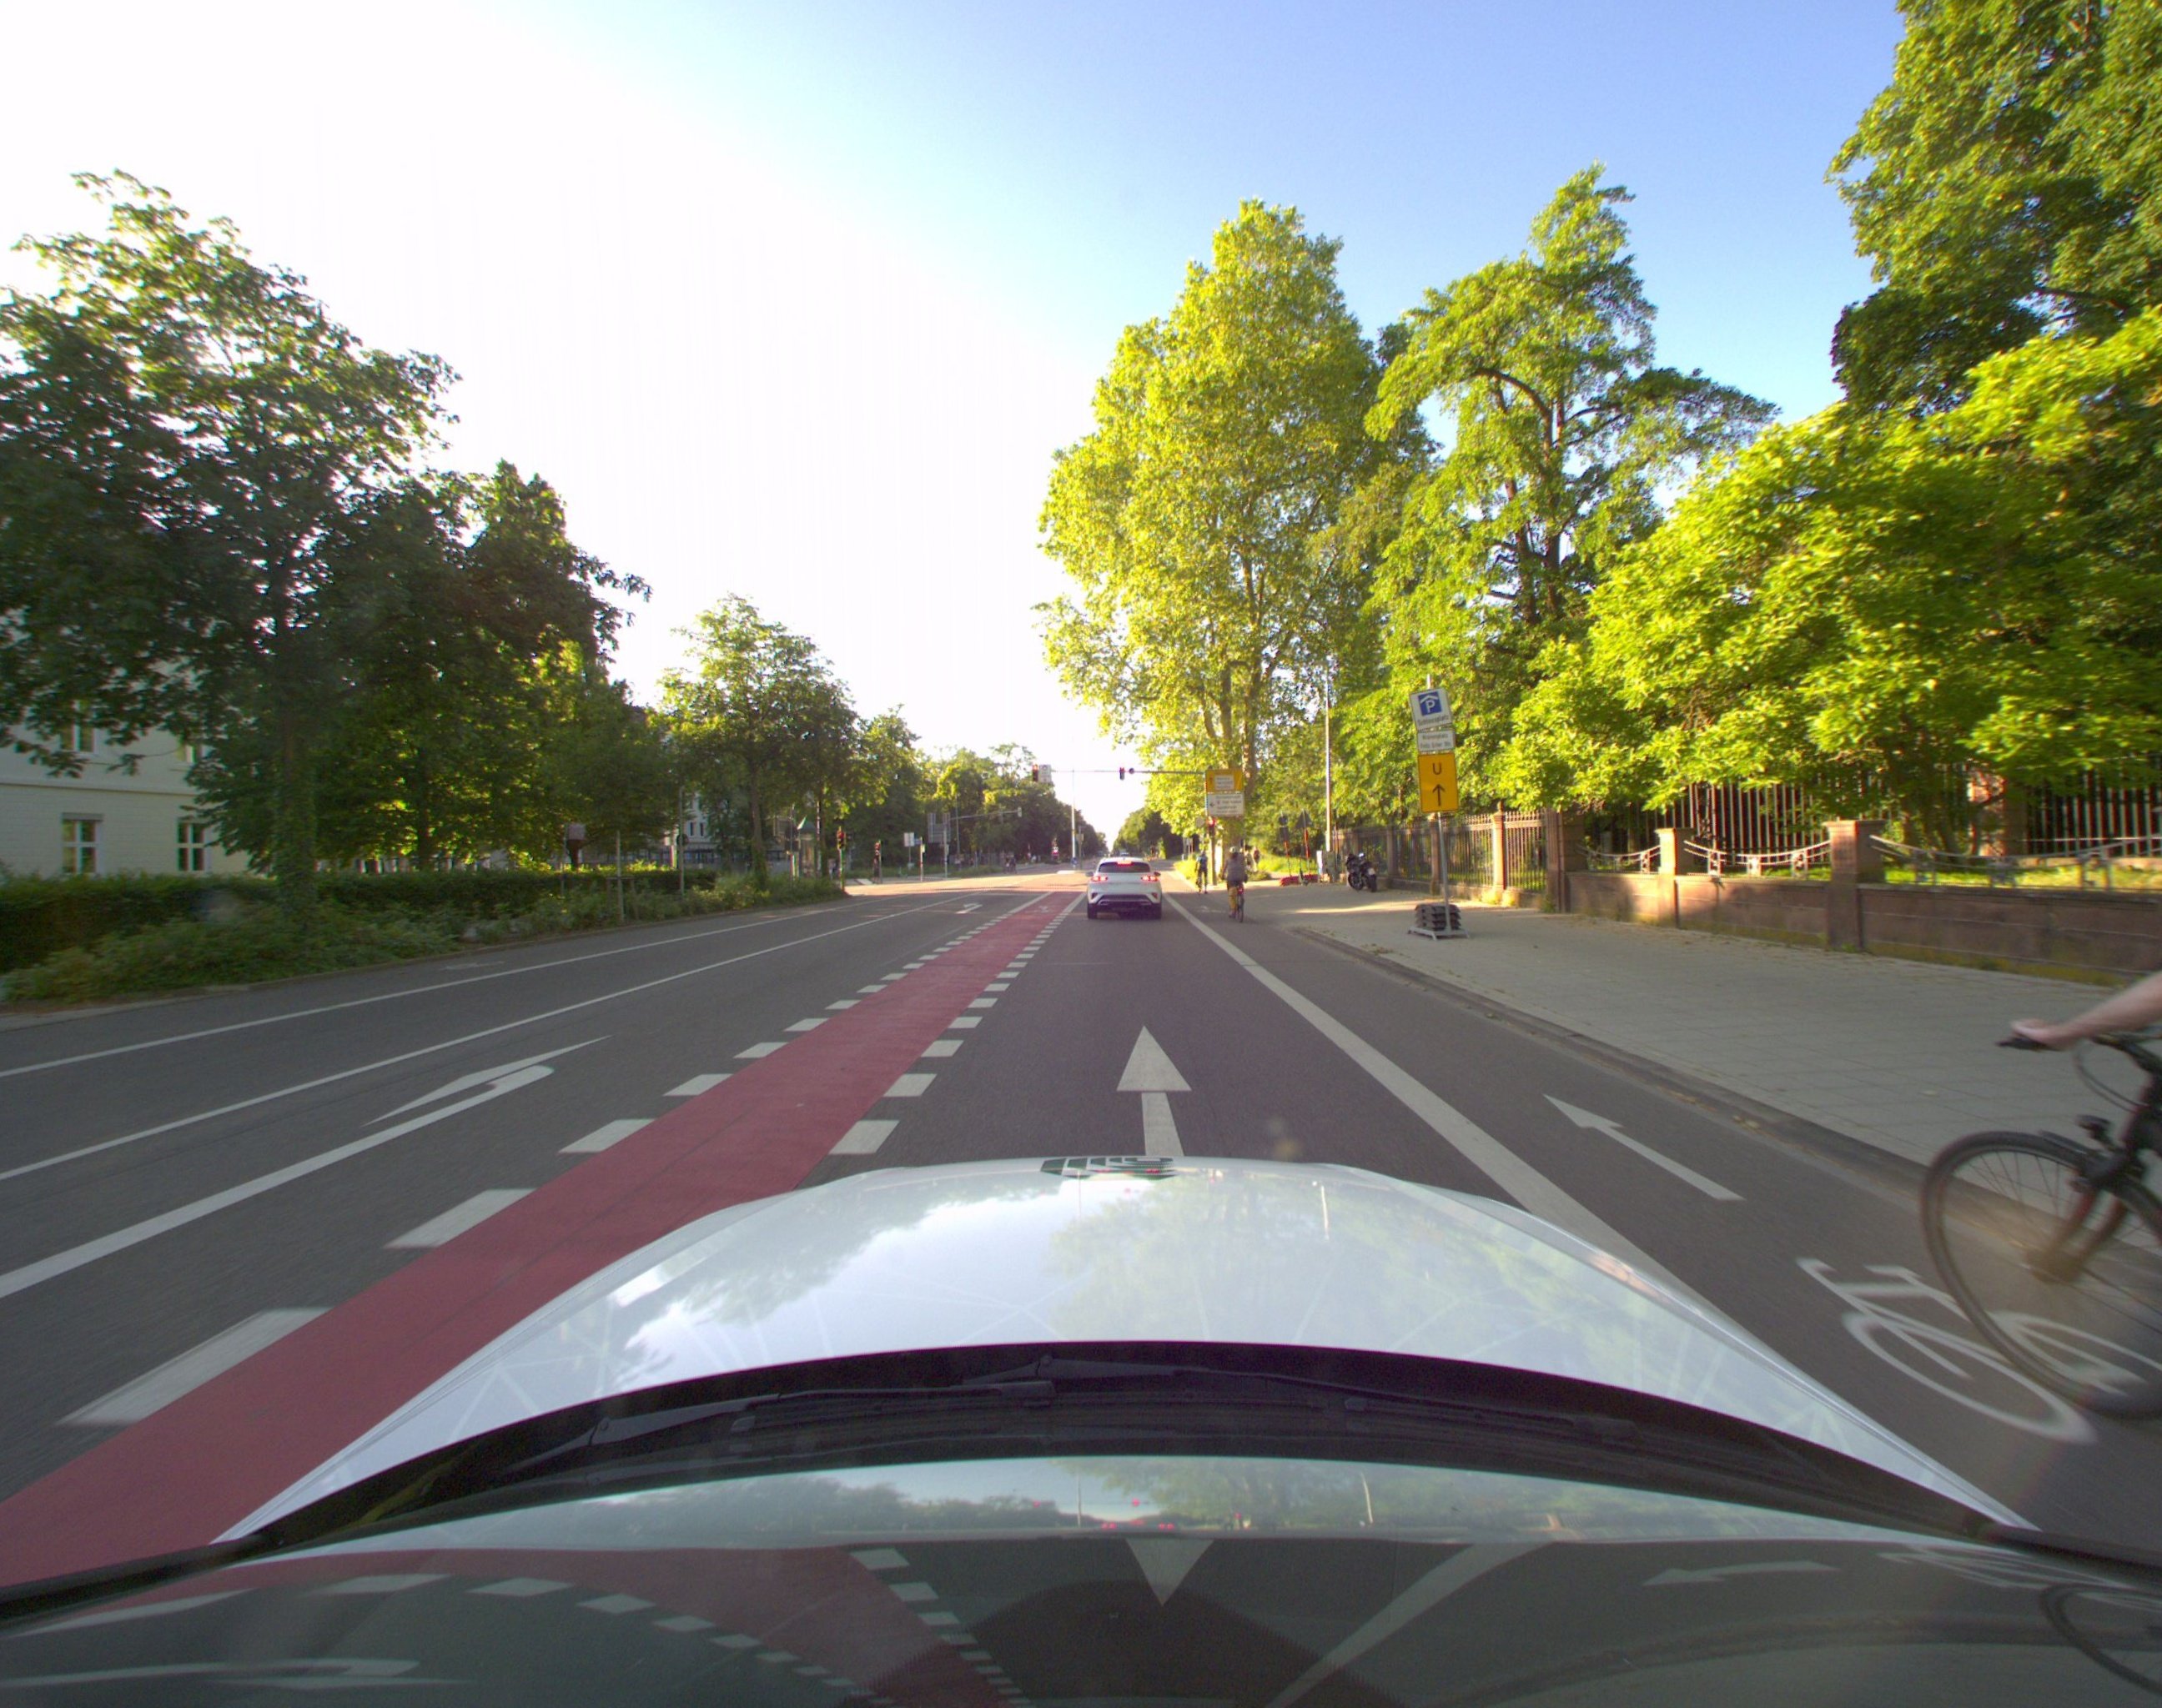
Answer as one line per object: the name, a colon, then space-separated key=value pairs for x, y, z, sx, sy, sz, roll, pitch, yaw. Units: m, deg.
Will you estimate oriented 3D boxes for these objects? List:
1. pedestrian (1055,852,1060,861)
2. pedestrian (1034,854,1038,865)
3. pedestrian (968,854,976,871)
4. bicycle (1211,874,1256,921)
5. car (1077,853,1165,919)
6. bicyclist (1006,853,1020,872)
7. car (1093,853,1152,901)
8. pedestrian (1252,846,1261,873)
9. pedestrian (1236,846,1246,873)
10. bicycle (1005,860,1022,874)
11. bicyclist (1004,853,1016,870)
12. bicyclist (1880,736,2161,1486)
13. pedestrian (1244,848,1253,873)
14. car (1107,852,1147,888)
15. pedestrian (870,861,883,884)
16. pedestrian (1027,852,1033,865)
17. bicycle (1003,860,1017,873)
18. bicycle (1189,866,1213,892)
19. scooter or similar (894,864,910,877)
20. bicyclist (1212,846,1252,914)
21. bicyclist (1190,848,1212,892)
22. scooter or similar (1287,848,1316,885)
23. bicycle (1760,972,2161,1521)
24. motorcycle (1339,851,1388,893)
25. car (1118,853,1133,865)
pedestrian: x=-5.997 y=0.580 z=205.090 sx=0.870 sy=2.149 sz=1.107 roll=-3 pitch=0 yaw=11
pedestrian: x=-6.898 y=0.820 z=124.060 sx=0.518 sy=1.705 sz=0.528 roll=-3 pitch=0 yaw=-2
pedestrian: x=-12.286 y=1.010 z=92.049 sx=0.648 sy=1.888 sz=0.663 roll=-3 pitch=0 yaw=4
bicycle: x=3.560 y=0.990 z=19.151 sx=0.750 sy=1.026 sz=1.870 roll=-1 pitch=-1 yaw=2
car: x=1.005 y=0.752 z=21.070 sx=1.986 sy=1.453 sz=4.002 roll=-3 pitch=0 yaw=2
bicyclist: x=-6.405 y=0.810 z=77.230 sx=1.087 sy=1.754 sz=1.098 roll=-3 pitch=0 yaw=4
car: x=1.473 y=0.774 z=29.557 sx=1.922 sy=1.533 sz=4.002 roll=-3 pitch=0 yaw=2
pedestrian: x=12.064 y=0.352 z=55.974 sx=0.479 sy=1.792 sz=0.433 roll=-5 pitch=3 yaw=8
pedestrian: x=10.880 y=0.375 z=55.296 sx=0.479 sy=1.792 sz=0.433 roll=-5 pitch=3 yaw=8
bicycle: x=-6.400 y=1.223 z=77.113 sx=1.097 sy=1.255 sz=2.782 roll=-3 pitch=0 yaw=4
bicyclist: x=-7.209 y=0.758 z=82.379 sx=0.951 sy=1.705 sz=1.234 roll=-3 pitch=0 yaw=3
bicyclist: x=2.629 y=0.550 z=1.714 sx=0.633 sy=1.614 sz=1.284 roll=-1 pitch=0 yaw=2
pedestrian: x=11.427 y=0.410 z=55.545 sx=0.479 sy=1.640 sz=0.433 roll=-5 pitch=3 yaw=8
car: x=2.249 y=0.757 z=40.497 sx=1.844 sy=1.591 sz=4.002 roll=-3 pitch=0 yaw=2
pedestrian: x=-16.208 y=1.449 z=64.449 sx=0.684 sy=1.792 sz=0.769 roll=-5 pitch=0 yaw=1
pedestrian: x=-7.637 y=0.694 z=121.931 sx=0.654 sy=2.013 sz=0.832 roll=-3 pitch=0 yaw=0
bicycle: x=-7.179 y=1.268 z=82.358 sx=0.959 sy=1.181 sz=2.954 roll=-3 pitch=0 yaw=4
bicycle: x=4.807 y=0.987 z=32.700 sx=0.750 sy=1.026 sz=1.870 roll=-1 pitch=-1 yaw=2
scooter or similar: x=-16.151 y=1.475 z=73.494 sx=0.506 sy=1.144 sz=1.710 roll=-3 pitch=0 yaw=23
bicyclist: x=3.549 y=0.591 z=19.195 sx=0.744 sy=1.537 sz=0.970 roll=-1 pitch=0 yaw=1
bicyclist: x=4.808 y=0.635 z=32.680 sx=0.747 sy=1.750 sz=0.843 roll=-1 pitch=0 yaw=1
scooter or similar: x=8.520 y=0.465 z=31.550 sx=0.564 sy=1.382 sz=1.856 roll=-3 pitch=0 yaw=1
bicycle: x=2.649 y=0.925 z=1.717 sx=0.640 sy=1.025 sz=2.213 roll=0 pitch=0 yaw=2
motorcycle: x=8.564 y=0.508 z=24.768 sx=0.659 sy=1.167 sz=2.328 roll=-4 pitch=0 yaw=2
car: x=6.115 y=0.644 z=111.638 sx=1.727 sy=1.546 sz=4.009 roll=-2 pitch=0 yaw=7
